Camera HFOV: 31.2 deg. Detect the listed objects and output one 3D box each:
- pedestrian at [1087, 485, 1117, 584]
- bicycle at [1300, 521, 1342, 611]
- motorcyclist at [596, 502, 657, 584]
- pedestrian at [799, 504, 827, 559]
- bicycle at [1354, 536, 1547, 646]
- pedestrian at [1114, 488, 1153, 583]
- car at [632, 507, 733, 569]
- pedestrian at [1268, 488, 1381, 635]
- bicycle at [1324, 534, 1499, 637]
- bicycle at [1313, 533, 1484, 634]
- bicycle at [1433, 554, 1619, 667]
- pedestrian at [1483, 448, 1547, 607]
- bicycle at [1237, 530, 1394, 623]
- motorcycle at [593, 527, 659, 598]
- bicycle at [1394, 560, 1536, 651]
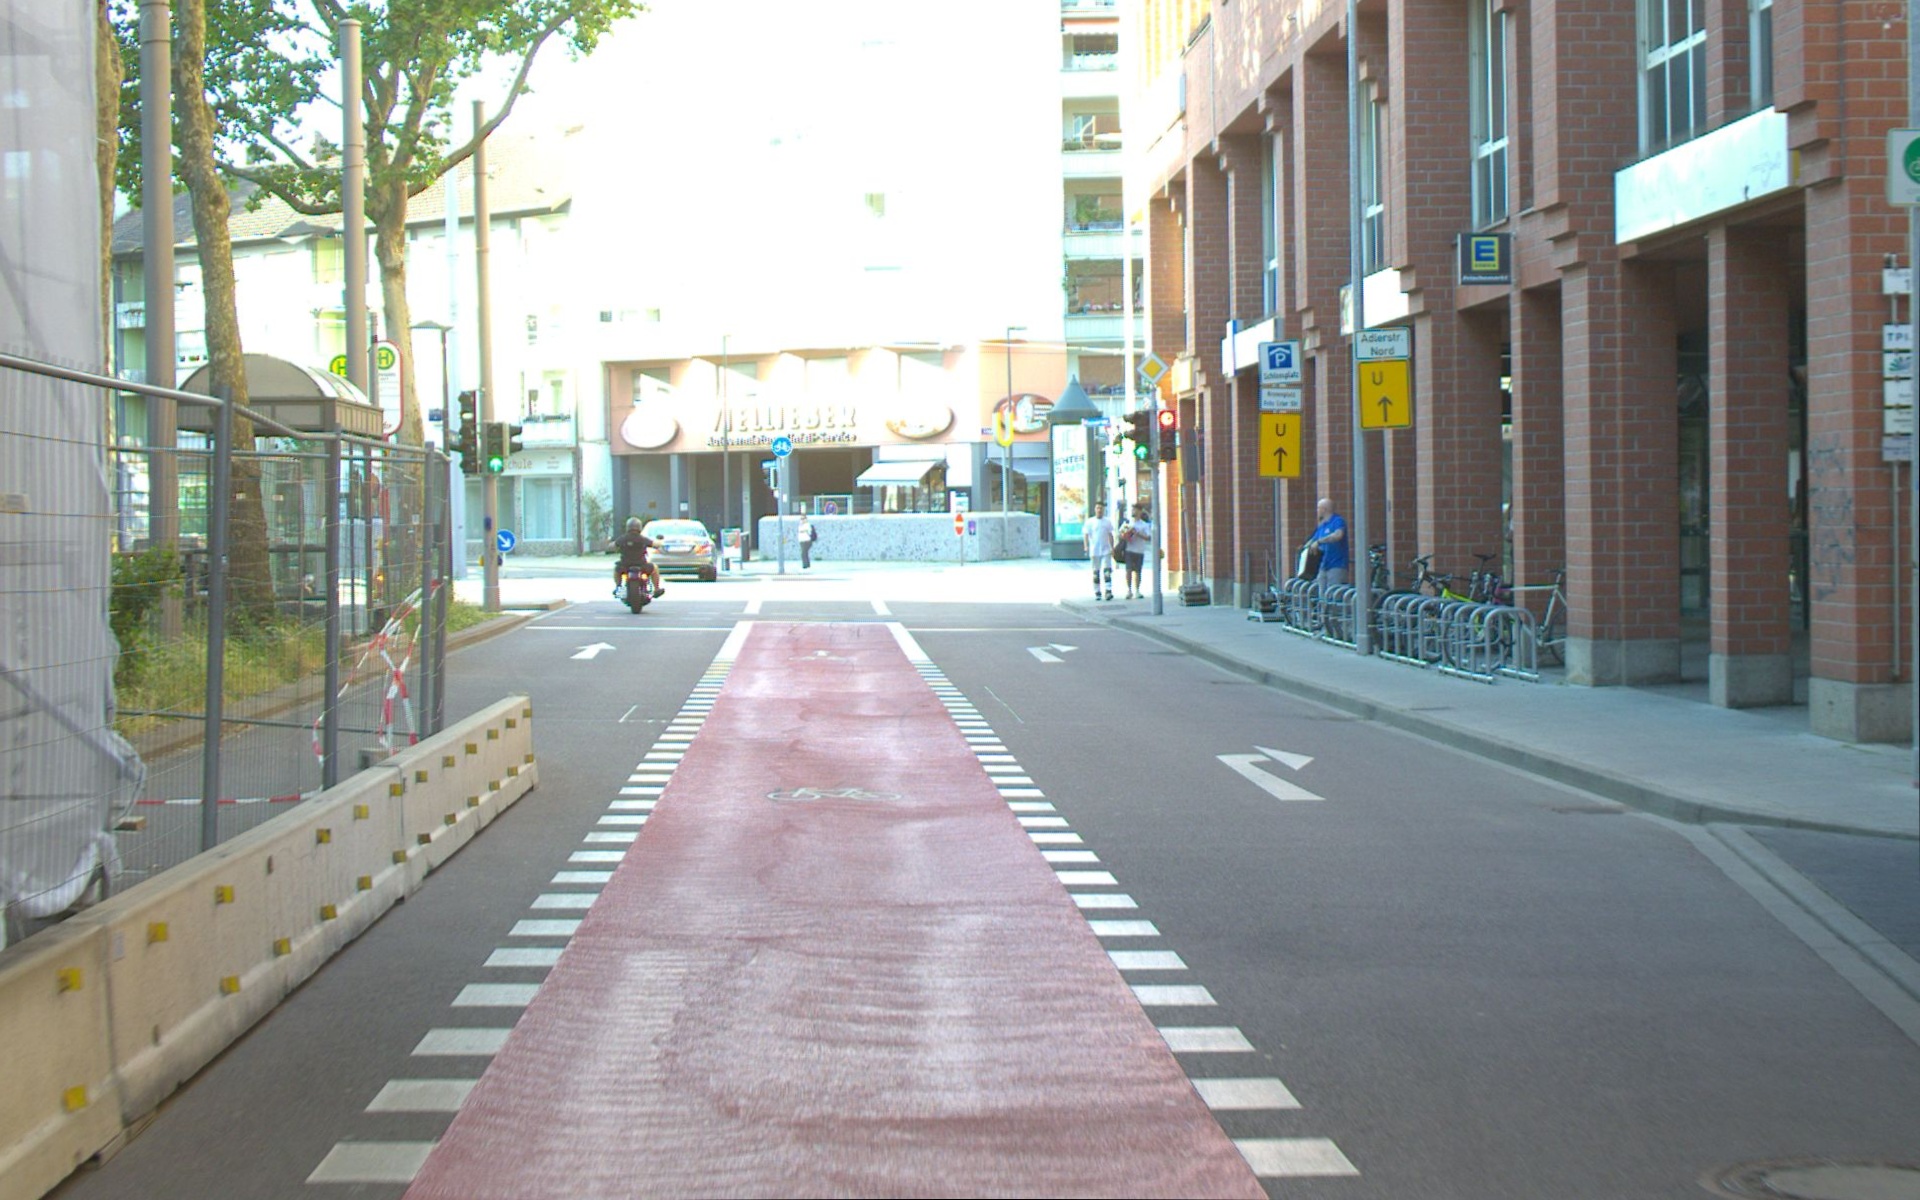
[{"bbox_3d":[2.582,-1.190,62.590,0.476,1.786,0.541,-1,2,-3],"label":"pedestrian"},{"bbox_3d":[4.910,-0.467,46.777,0.339,1.179,1.678,-1,2,-1],"label":"bicycle"},{"bbox_3d":[-5.529,-0.949,57.039,0.970,1.342,1.138,0,1,-3],"label":"motorcyclist"},{"bbox_3d":[-4.267,-1.991,99.662,0.557,1.578,0.539,1,2,45],"label":"pedestrian"},{"bbox_3d":[5.214,-0.098,36.589,1.933,1.053,0.573,-3,1,1],"label":"bicycle"},{"bbox_3d":[3.155,-1.175,62.490,0.633,1.719,0.630,-1,2,-3],"label":"pedestrian"},{"bbox_3d":[-6.560,-1.487,80.968,1.923,1.384,4.001,-1,2,-11],"label":"car"},{"bbox_3d":[4.397,-0.476,41.487,1.194,1.690,0.885,-3,2,1],"label":"pedestrian"},{"bbox_3d":[5.144,-0.172,39.223,1.891,1.115,0.550,-2,1,-2],"label":"bicycle"},{"bbox_3d":[5.080,-0.196,39.850,1.891,1.115,0.475,-2,1,-2],"label":"bicycle"},{"bbox_3d":[5.326,0.092,32.388,1.611,0.951,0.555,-3,2,0],"label":"bicycle"},{"bbox_3d":[7.083,-0.932,43.889,0.607,2.006,0.661,-1,2,-8],"label":"pedestrian"},{"bbox_3d":[4.482,-0.299,43.349,1.891,1.115,0.475,-2,1,-2],"label":"bicycle"},{"bbox_3d":[-5.519,-0.635,56.995,0.973,1.128,2.805,0,2,-3],"label":"motorcycle"},{"bbox_3d":[5.151,0.058,35.093,1.334,0.838,0.425,-3,2,0],"label":"bicycle"}]
